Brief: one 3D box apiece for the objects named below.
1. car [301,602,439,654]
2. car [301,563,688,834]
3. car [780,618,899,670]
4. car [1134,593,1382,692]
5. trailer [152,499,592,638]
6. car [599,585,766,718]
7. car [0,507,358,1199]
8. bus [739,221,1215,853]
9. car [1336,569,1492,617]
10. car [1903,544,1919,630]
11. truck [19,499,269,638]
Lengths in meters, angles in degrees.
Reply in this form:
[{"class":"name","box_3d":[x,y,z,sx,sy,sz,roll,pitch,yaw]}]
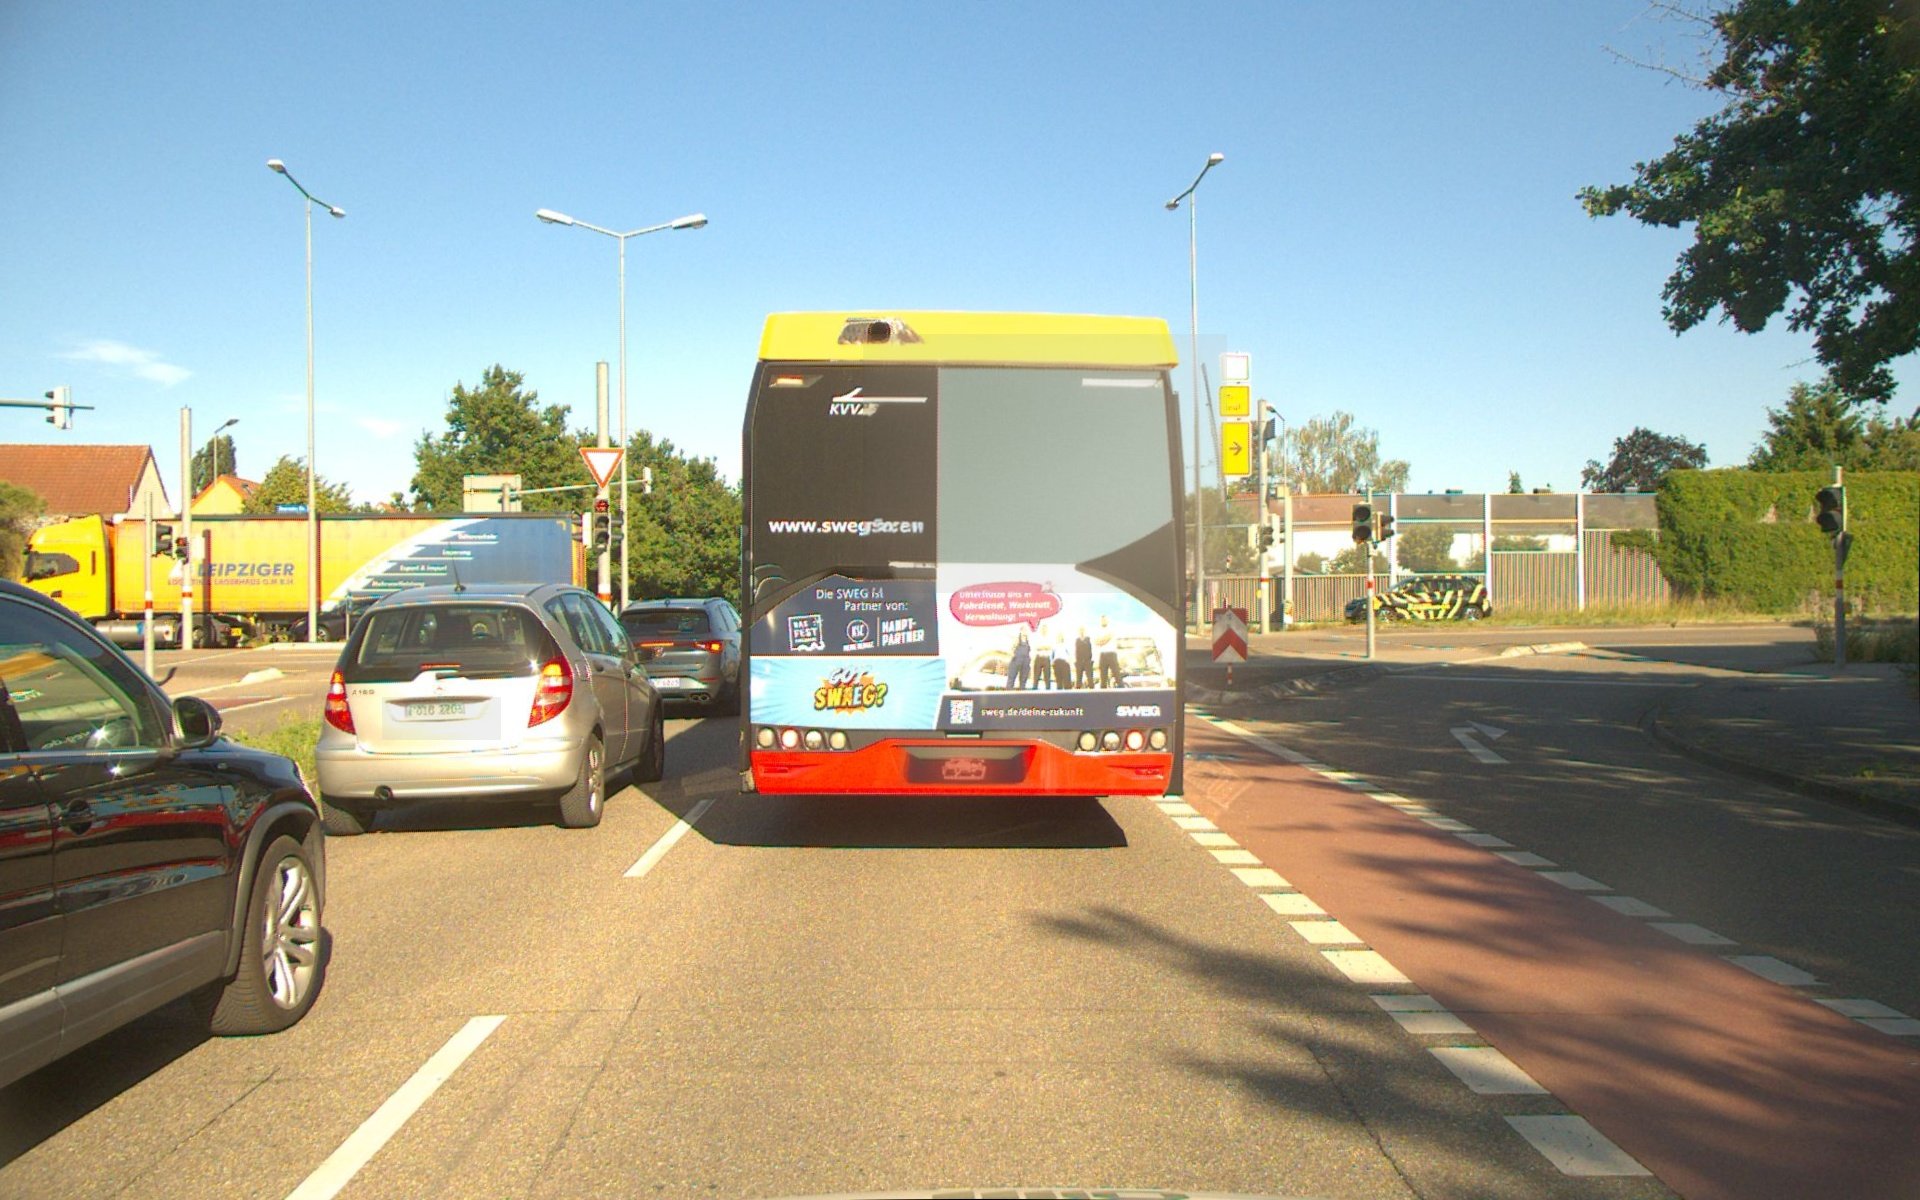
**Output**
[{"class":"car","box_3d":[-19.124,0.898,53.741,3.910,1.640,1.693,0,0,-7]},{"class":"car","box_3d":[-3.183,0.559,12.168,1.718,1.648,4.033,0,1,-1]},{"class":"car","box_3d":[-4.039,1.445,55.316,3.910,1.640,1.693,0,0,-7]},{"class":"car","box_3d":[4.313,0.599,24.251,3.447,1.325,1.576,1,1,8]},{"class":"trailer","box_3d":[-17.848,-0.977,50.974,12.492,4.100,2.466,0,0,-8]},{"class":"car","box_3d":[-3.417,0.610,20.928,1.556,1.512,3.681,-1,-1,-2]},{"class":"car","box_3d":[-3.164,0.662,4.279,1.784,1.703,4.001,-2,-1,-1]},{"class":"bus","box_3d":[0.007,-0.357,14.945,2.543,3.393,11.981,1,0,-1]},{"class":"car","box_3d":[13.153,-0.185,48.041,4.078,1.325,1.573,1,-1,-4]},{"class":"car","box_3d":[16.548,-0.178,25.961,3.355,1.318,1.448,1,-1,-26]},{"class":"truck","box_3d":[-24.573,-0.952,50.080,6.277,4.068,2.469,0,0,-8]}]
